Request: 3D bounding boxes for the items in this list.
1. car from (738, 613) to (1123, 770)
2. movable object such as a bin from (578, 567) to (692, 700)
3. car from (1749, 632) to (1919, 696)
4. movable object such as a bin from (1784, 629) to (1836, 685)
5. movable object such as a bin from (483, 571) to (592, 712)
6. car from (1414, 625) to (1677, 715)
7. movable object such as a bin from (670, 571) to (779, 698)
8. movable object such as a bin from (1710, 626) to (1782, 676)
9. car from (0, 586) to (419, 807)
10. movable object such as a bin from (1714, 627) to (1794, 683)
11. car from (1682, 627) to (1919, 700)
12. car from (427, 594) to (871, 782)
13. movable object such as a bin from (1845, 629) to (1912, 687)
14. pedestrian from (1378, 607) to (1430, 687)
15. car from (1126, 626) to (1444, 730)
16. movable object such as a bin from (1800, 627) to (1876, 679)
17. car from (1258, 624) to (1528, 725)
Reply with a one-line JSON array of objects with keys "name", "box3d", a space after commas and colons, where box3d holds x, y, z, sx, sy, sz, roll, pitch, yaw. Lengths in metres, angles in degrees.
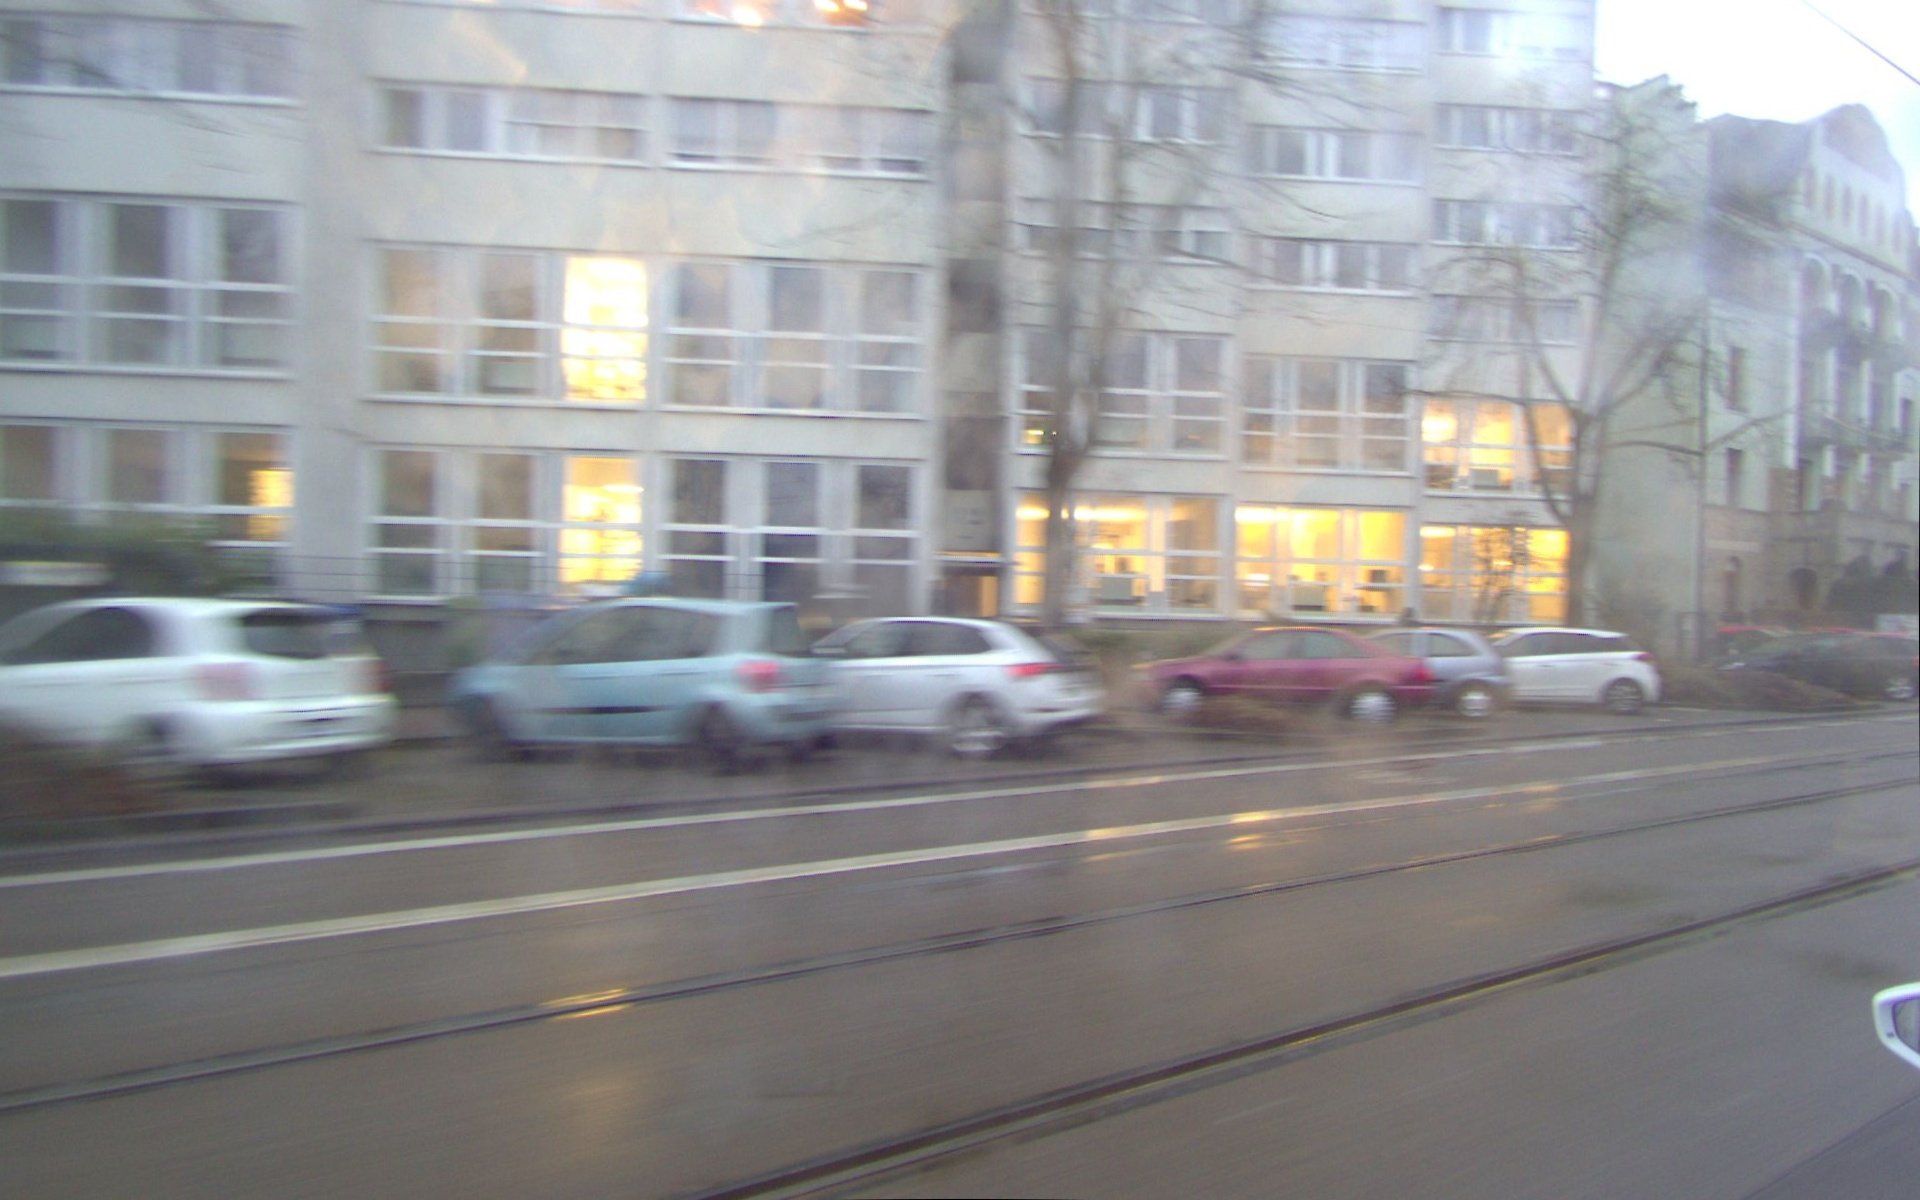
[{"name": "car", "box3d": [-0.352, 0.904, 11.169, 3.926, 1.463, 1.735, 0, -2, 28]}, {"name": "movable object such as a bin", "box3d": [-4.936, 0.474, 15.210, 1.376, 1.885, 1.563, 0, 0, -29]}, {"name": "car", "box3d": [22.109, 1.543, 24.655, 3.920, 1.447, 1.849, 0, 0, 18]}, {"name": "movable object such as a bin", "box3d": [23.507, 1.548, 27.800, 1.076, 1.470, 1.107, 0, 0, 39]}, {"name": "movable object such as a bin", "box3d": [-6.132, 0.559, 14.518, 1.301, 1.885, 1.563, 0, 0, -29]}, {"name": "car", "box3d": [10.422, 1.206, 18.174, 3.775, 1.442, 1.738, 0, 0, 15]}, {"name": "movable object such as a bin", "box3d": [-3.744, 0.510, 15.877, 1.301, 1.885, 1.563, 0, 0, -29]}, {"name": "movable object such as a bin", "box3d": [23.829, 1.524, 30.466, 1.306, 1.470, 1.260, 0, 0, -23]}, {"name": "car", "box3d": [-6.785, 0.690, 8.475, 3.798, 1.572, 1.694, 0, 0, 16]}, {"name": "movable object such as a bin", "box3d": [21.894, 1.484, 27.705, 1.306, 1.470, 1.260, 0, 0, -23]}, {"name": "car", "box3d": [19.380, 1.428, 23.249, 3.919, 1.490, 1.832, 1, 0, 15]}, {"name": "car", "box3d": [-3.028, 0.753, 9.927, 3.921, 1.584, 1.737, 0, 0, 19]}, {"name": "movable object such as a bin", "box3d": [24.545, 1.540, 26.870, 1.247, 1.470, 1.107, 0, 0, 38]}, {"name": "pedestrian", "box3d": [9.637, 1.004, 21.804, 0.962, 1.699, 0.594, 0, 0, -30]}, {"name": "car", "box3d": [4.674, 1.094, 14.939, 4.259, 1.370, 1.751, 0, -2, 12]}, {"name": "movable object such as a bin", "box3d": [25.796, 1.526, 29.525, 1.306, 1.470, 1.260, 0, 0, -23]}, {"name": "car", "box3d": [7.128, 1.171, 16.727, 3.925, 1.482, 1.735, 0, -2, 26]}]
